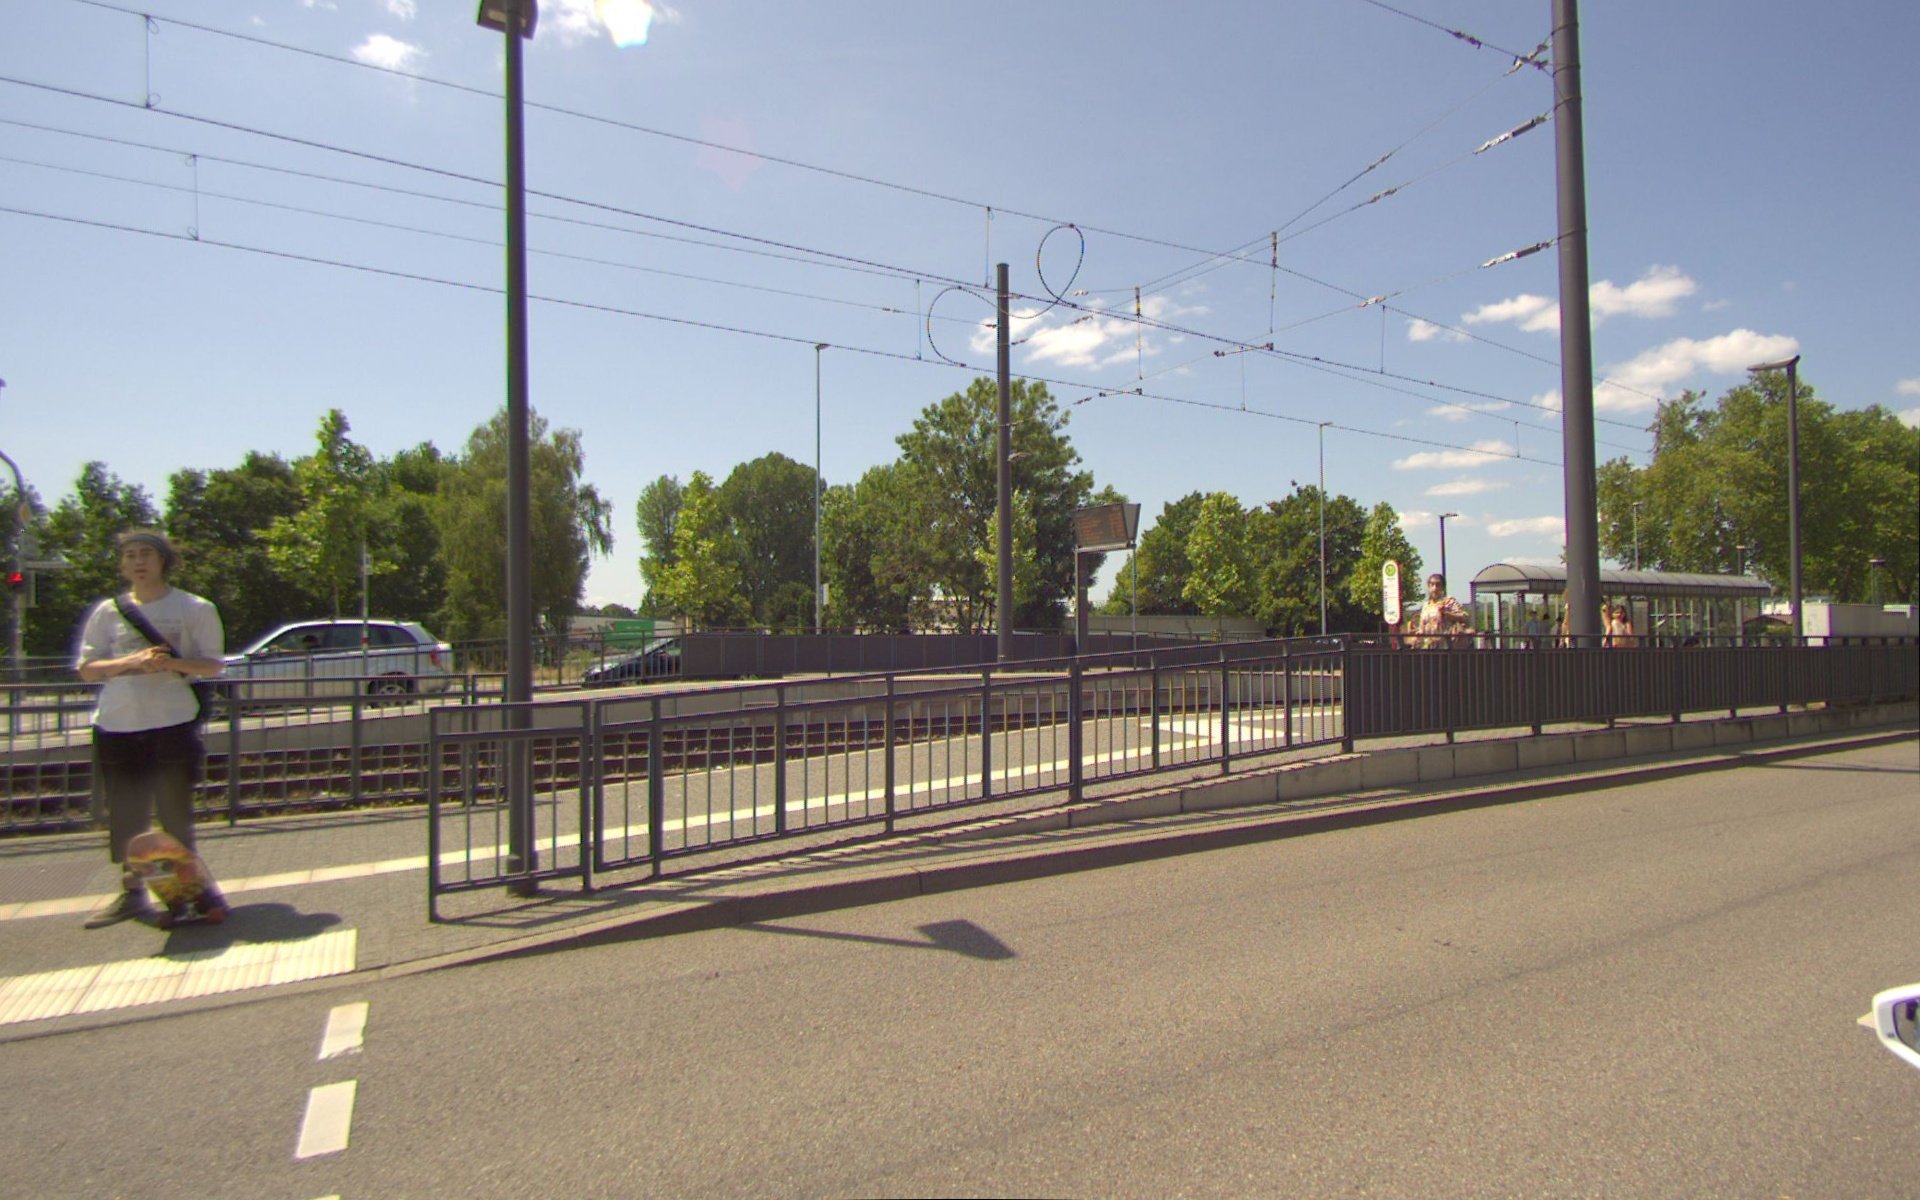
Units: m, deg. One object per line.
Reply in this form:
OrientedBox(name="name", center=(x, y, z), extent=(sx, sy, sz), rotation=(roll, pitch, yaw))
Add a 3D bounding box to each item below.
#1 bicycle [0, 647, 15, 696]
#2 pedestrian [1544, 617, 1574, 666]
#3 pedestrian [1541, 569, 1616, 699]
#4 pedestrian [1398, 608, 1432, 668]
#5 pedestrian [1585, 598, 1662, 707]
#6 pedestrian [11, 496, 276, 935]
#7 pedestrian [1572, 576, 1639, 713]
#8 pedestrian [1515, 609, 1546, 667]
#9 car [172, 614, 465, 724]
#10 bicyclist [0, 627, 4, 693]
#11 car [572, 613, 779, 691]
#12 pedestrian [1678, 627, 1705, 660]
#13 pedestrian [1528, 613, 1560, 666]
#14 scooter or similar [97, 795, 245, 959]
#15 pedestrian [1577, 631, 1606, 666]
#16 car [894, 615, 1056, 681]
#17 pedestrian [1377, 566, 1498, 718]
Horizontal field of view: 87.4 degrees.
OrientedBox(name="bicycle", center=(-24.120, 1.785, 24.848), extent=(0.582, 1.209, 1.526), rotation=(1, -1, -23))
OrientedBox(name="pedestrian", center=(19.041, 1.312, 31.944), extent=(0.631, 1.553, 0.574), rotation=(1, -2, -30))
OrientedBox(name="pedestrian", center=(8.395, 0.455, 13.636), extent=(0.712, 1.703, 0.610), rotation=(1, -1, -33))
OrientedBox(name="pedestrian", center=(12.724, 1.052, 28.074), extent=(0.799, 1.659, 0.553), rotation=(1, -1, -38))
OrientedBox(name="pedestrian", center=(8.624, 0.665, 13.058), extent=(0.712, 1.363, 0.610), rotation=(1, -1, -33))
OrientedBox(name="pedestrian", center=(-3.814, 0.492, 4.792), extent=(0.874, 1.826, 0.857), rotation=(1, -1, -35))
OrientedBox(name="pedestrian", center=(7.794, 0.529, 12.135), extent=(0.551, 1.598, 0.494), rotation=(1, -1, -32))
OrientedBox(name="pedestrian", center=(17.338, 1.148, 30.523), extent=(0.566, 1.751, 0.739), rotation=(0, -1, 6))
OrientedBox(name="car", center=(-10.662, 1.089, 17.029), extent=(3.953, 1.650, 1.984), rotation=(1, -1, -30))
OrientedBox(name="bicyclist", center=(-24.058, 1.479, 24.751), extent=(0.536, 1.631, 0.584), rotation=(1, -1, -25))
OrientedBox(name="car", center=(-6.499, 1.141, 23.011), extent=(4.230, 1.650, 1.984), rotation=(1, -1, -30))
OrientedBox(name="pedestrian", center=(26.922, 1.586, 36.968), extent=(0.631, 1.206, 0.574), rotation=(1, -2, -30))
OrientedBox(name="pedestrian", center=(18.357, 1.236, 31.607), extent=(0.566, 1.660, 0.829), rotation=(0, -1, 6))
OrientedBox(name="scooter or similar", center=(-3.481, 1.199, 4.471), extent=(0.452, 0.512, 0.722), rotation=(1, -1, -34))
OrientedBox(name="pedestrian", center=(20.661, 1.586, 32.852), extent=(0.631, 1.109, 0.574), rotation=(1, -2, -30))
OrientedBox(name="car", center=(0.417, 1.272, 27.108), extent=(3.953, 1.650, 1.984), rotation=(1, -1, -30))
OrientedBox(name="pedestrian", center=(5.383, 0.462, 11.343), extent=(0.914, 1.626, 0.885), rotation=(1, -1, -32))
